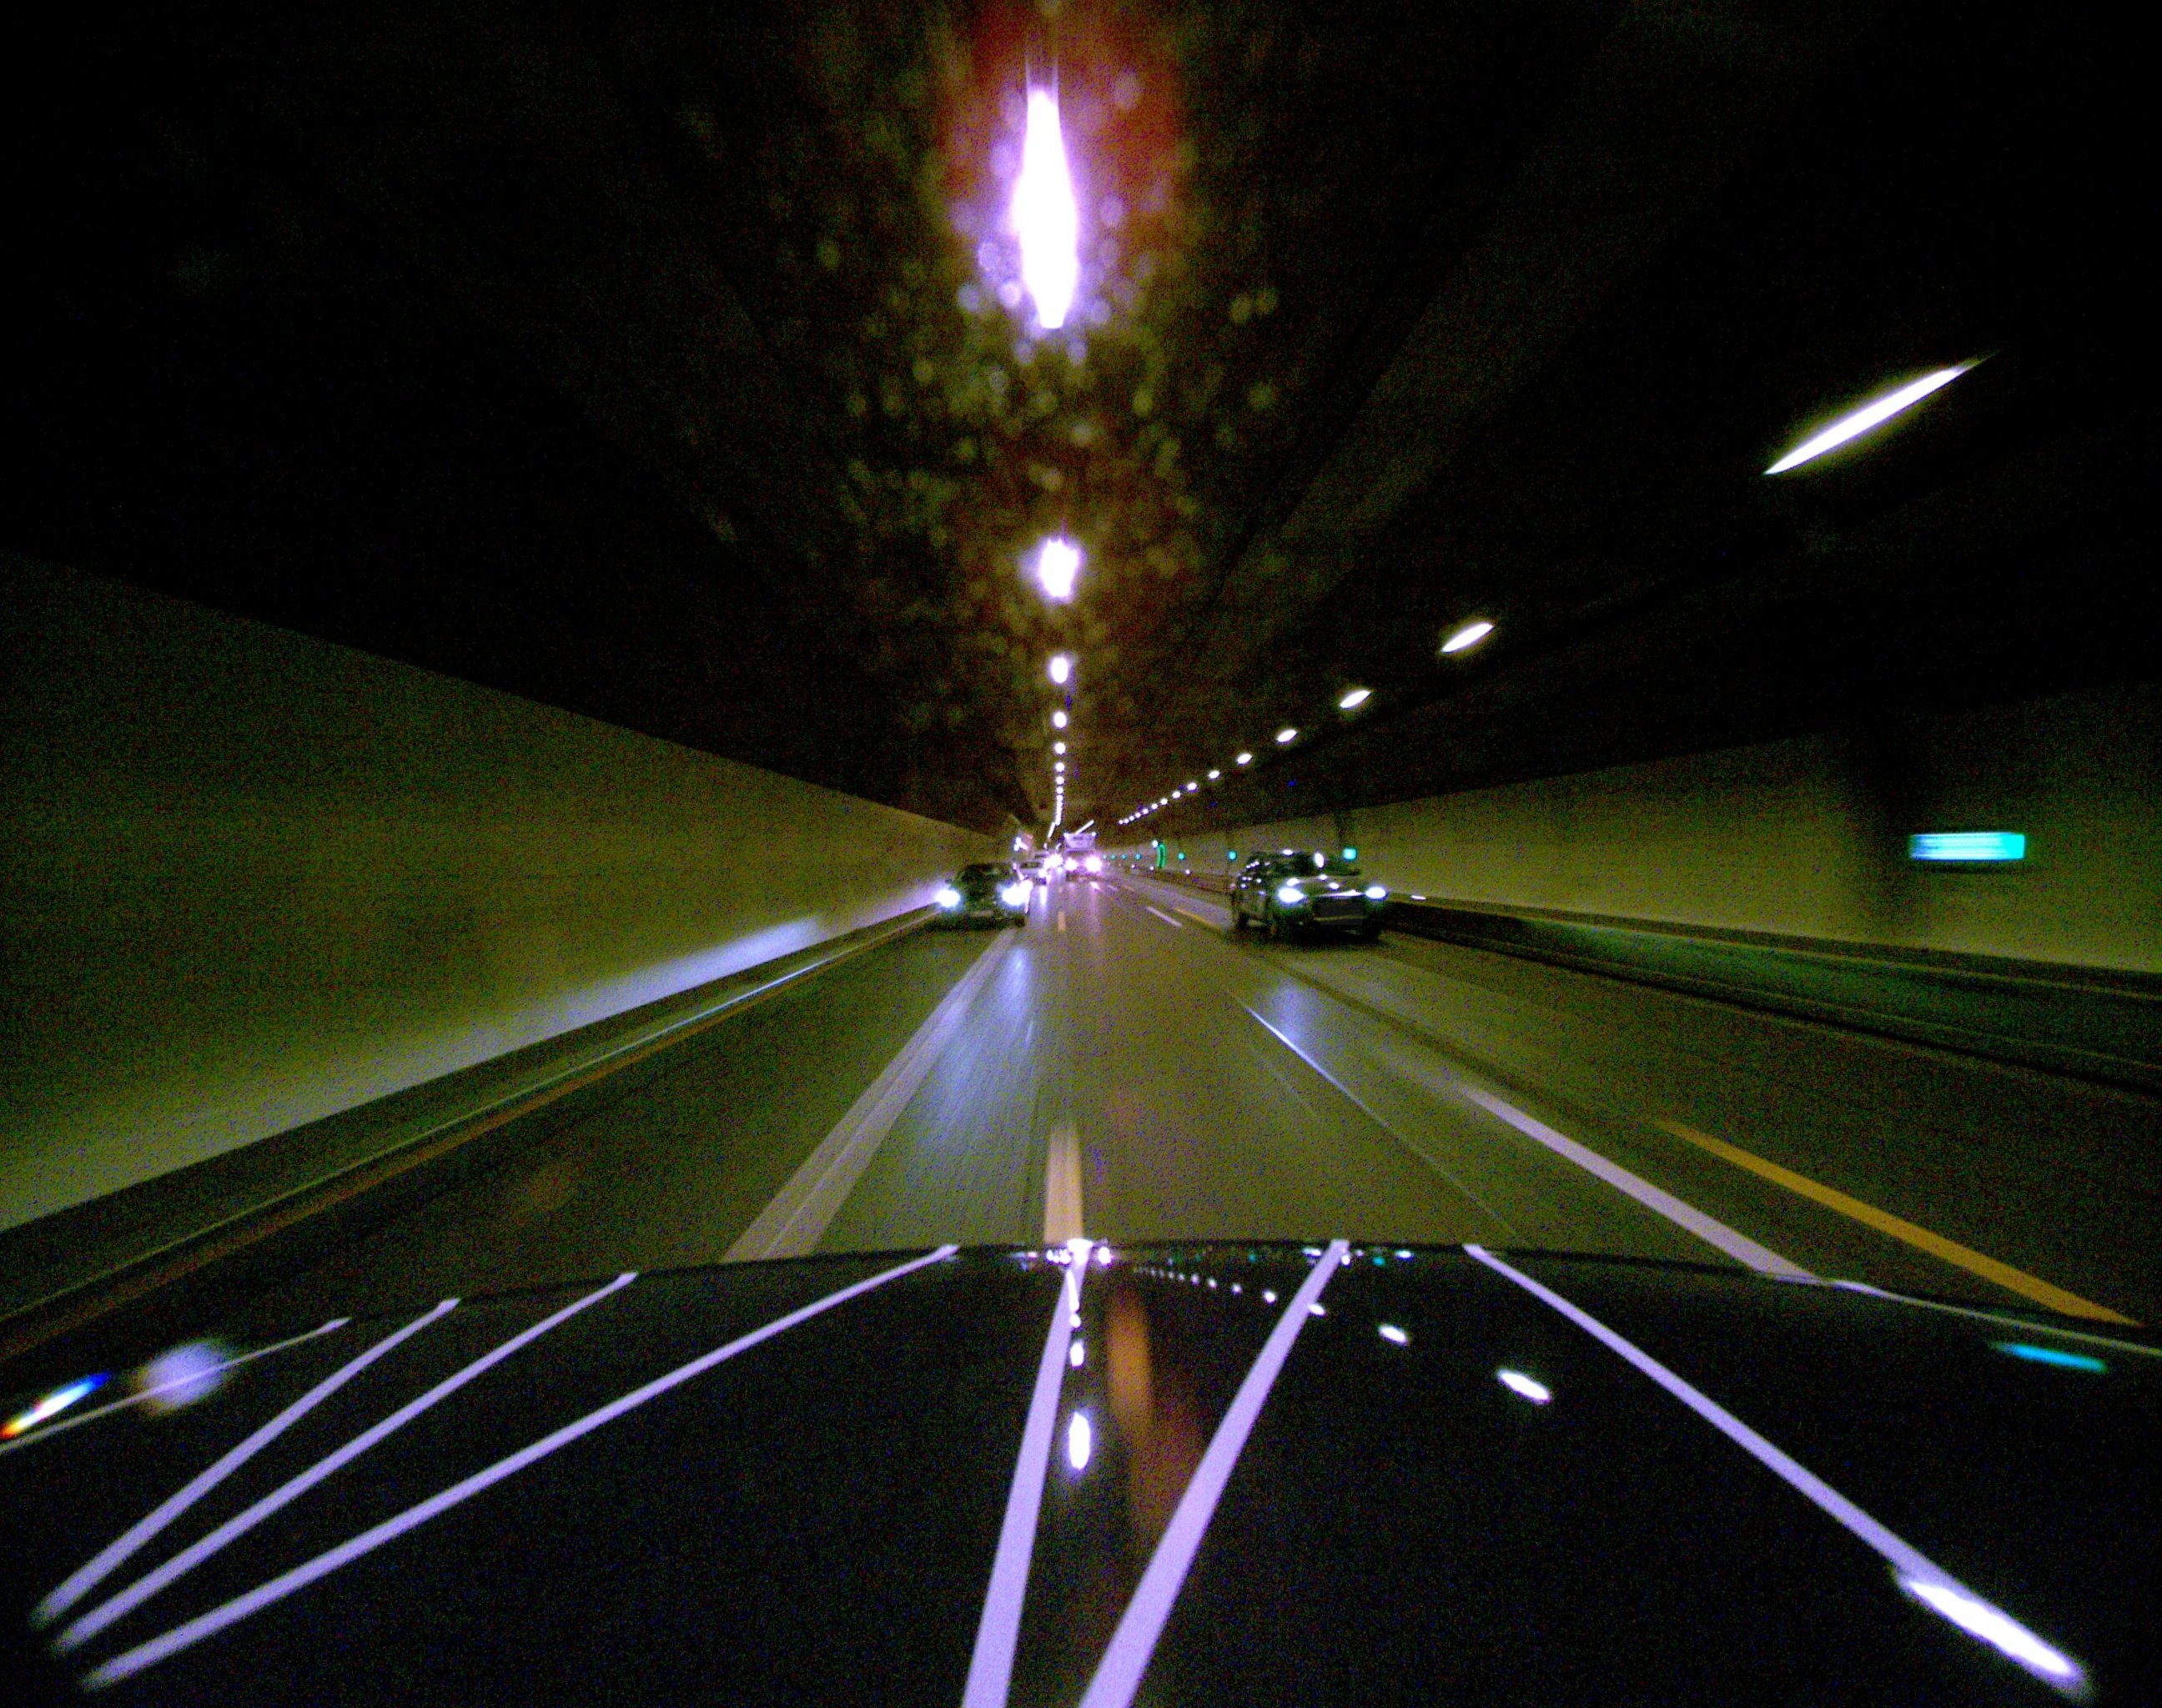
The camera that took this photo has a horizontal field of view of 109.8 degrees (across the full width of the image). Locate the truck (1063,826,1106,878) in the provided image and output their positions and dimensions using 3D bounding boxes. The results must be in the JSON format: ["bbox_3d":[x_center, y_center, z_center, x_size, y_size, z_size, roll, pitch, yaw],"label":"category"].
[{"bbox_3d":[0.152,-0.121,52.649,2.534,3.314,7.714,-2,0,-2],"label":"truck"}]

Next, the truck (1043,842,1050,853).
[{"bbox_3d":[-11.867,-2.236,262.078,2.208,3.449,11.764,-1,0,0],"label":"truck"}]

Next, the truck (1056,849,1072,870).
[{"bbox_3d":[-2.662,0.870,121.006,2.162,3.098,6.029,-2,1,0],"label":"truck"}]

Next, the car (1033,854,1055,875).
[{"bbox_3d":[-3.701,1.019,75.004,1.999,2.002,4.852,-2,0,-4],"label":"car"}]

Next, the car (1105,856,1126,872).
[{"bbox_3d":[3.587,1.036,79.461,1.998,1.531,4.851,-2,1,1],"label":"car"}]

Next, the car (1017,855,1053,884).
[{"bbox_3d":[-2.765,0.889,46.048,1.999,1.531,4.741,-2,1,-3],"label":"car"}]

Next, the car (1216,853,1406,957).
[{"bbox_3d":[4.057,0.804,14.379,1.999,1.531,4.741,-2,1,-2],"label":"car"}]

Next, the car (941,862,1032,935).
[{"bbox_3d":[-2.184,0.992,18.756,1.826,1.469,4.520,-2,0,-3],"label":"car"}]

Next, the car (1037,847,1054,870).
[{"bbox_3d":[-4.607,0.546,98.068,1.999,2.710,6.272,-2,1,-2],"label":"car"}]
